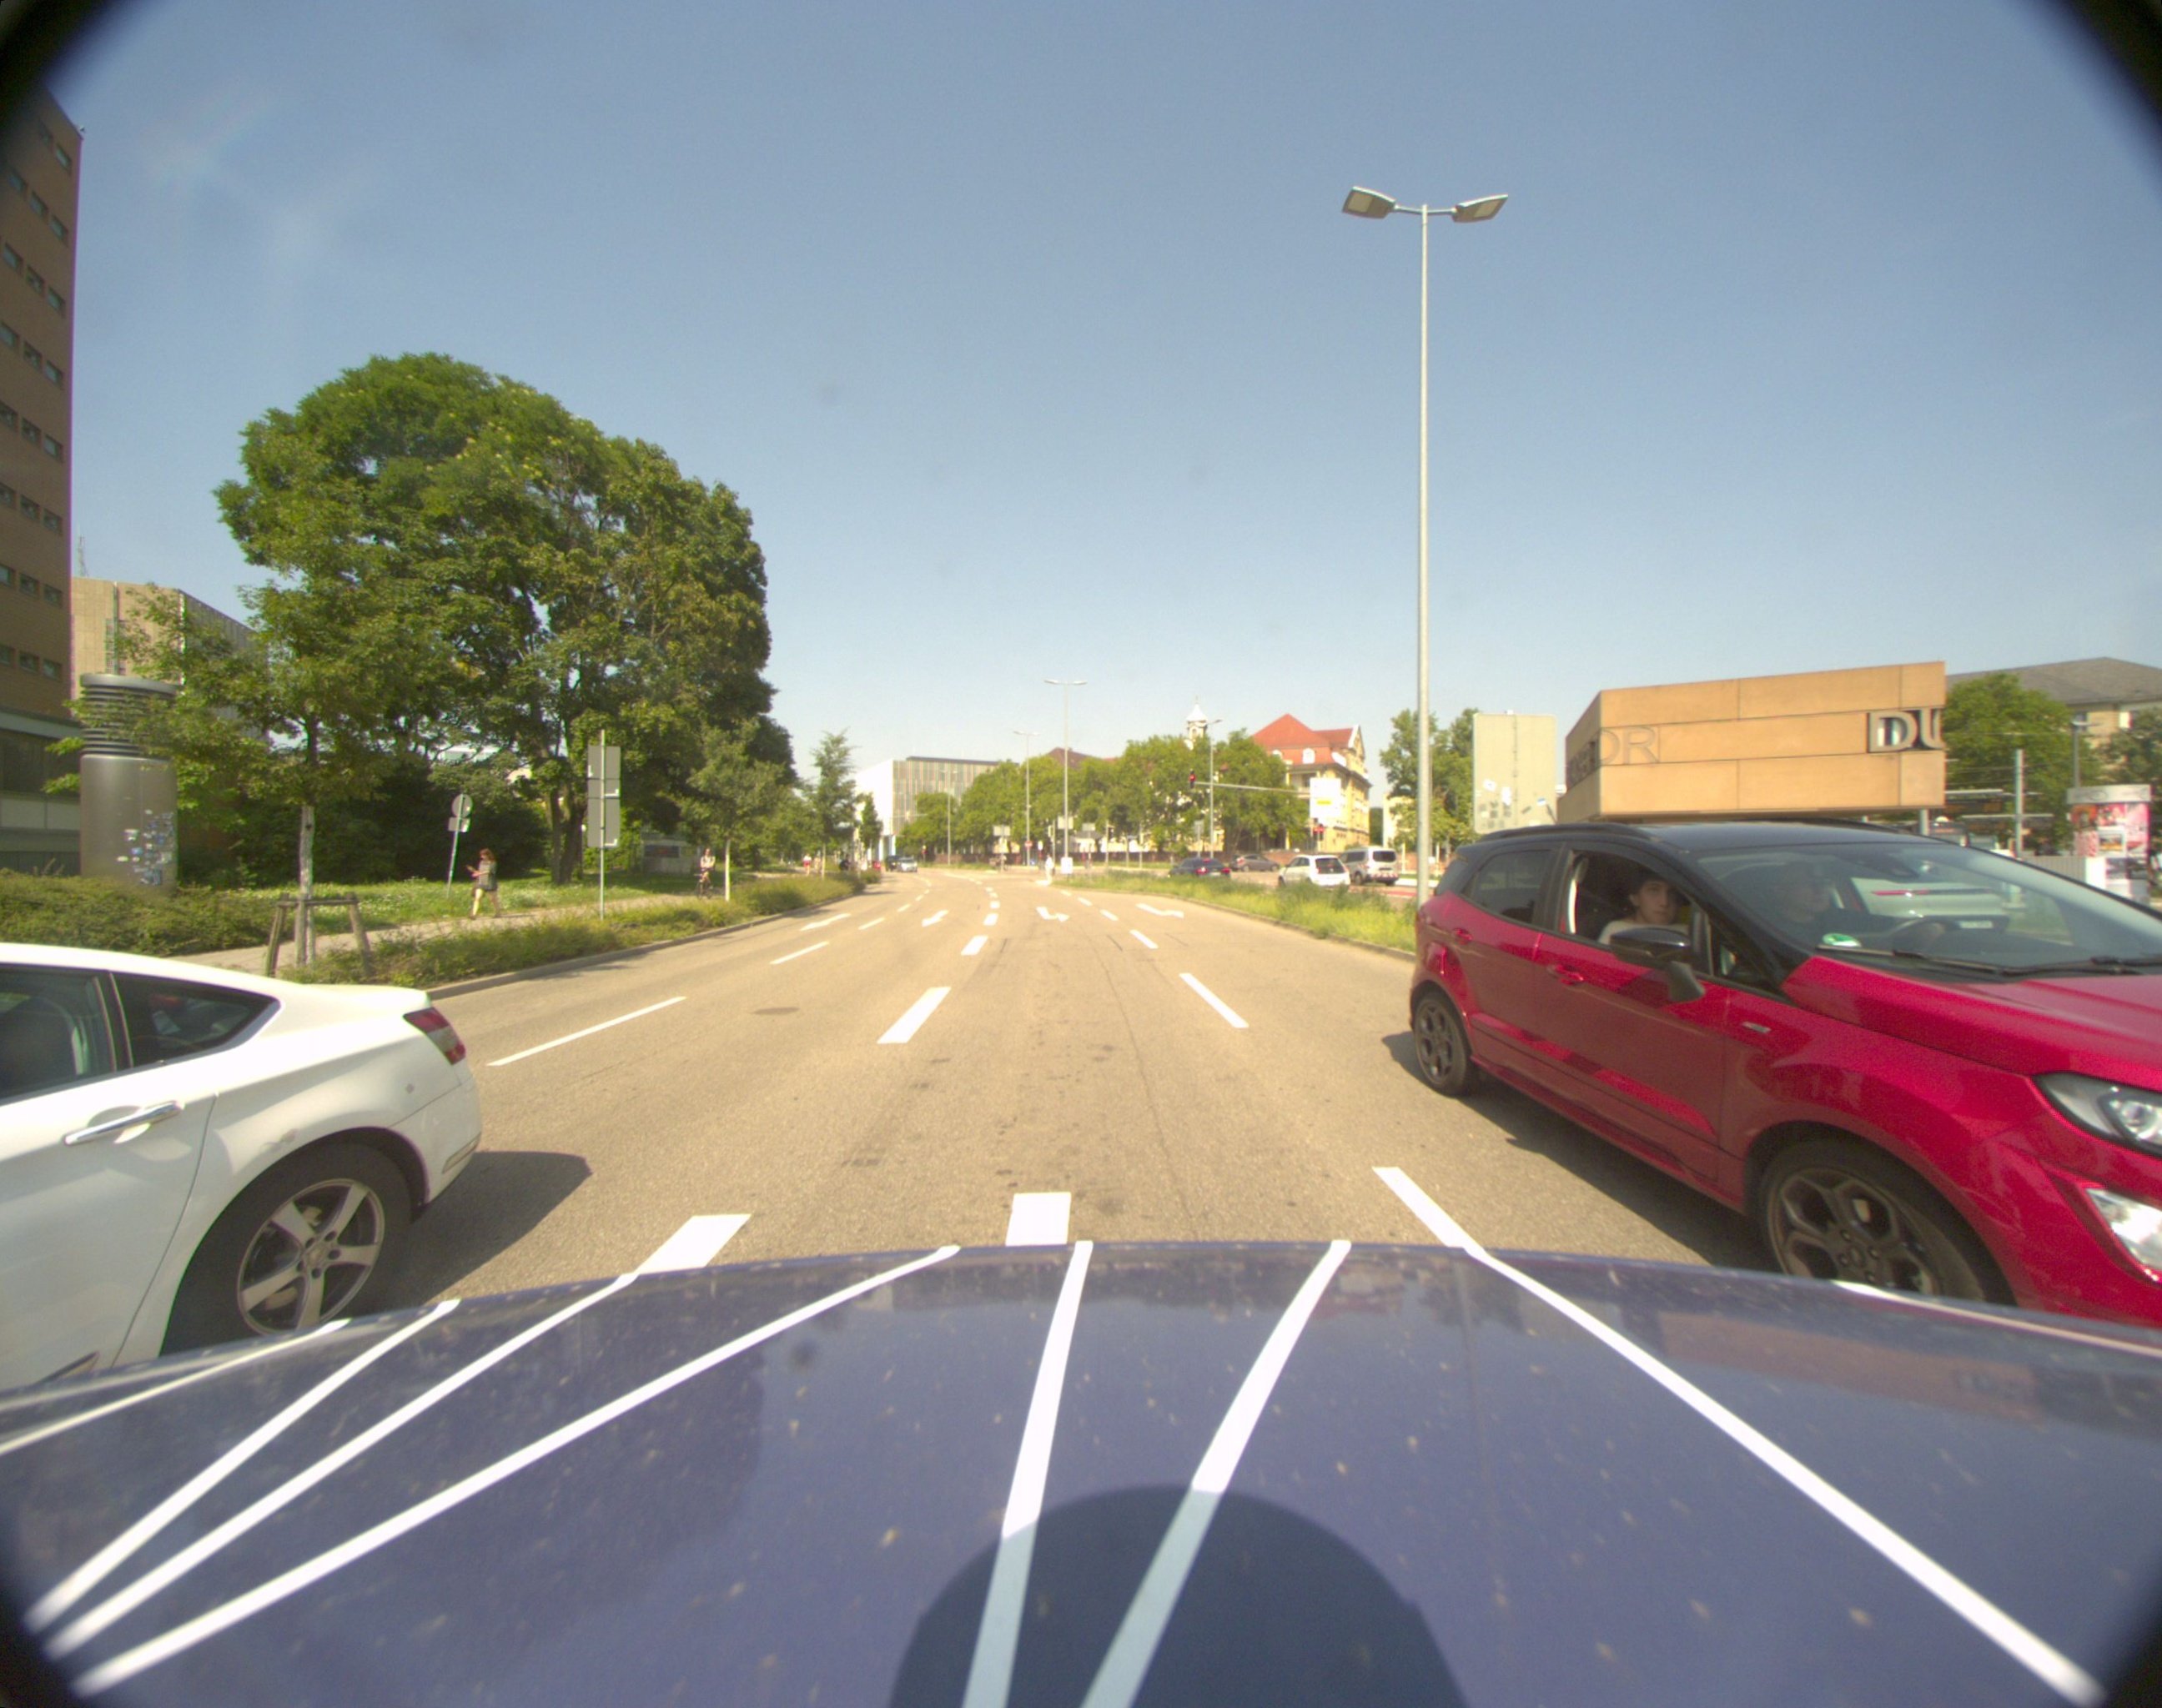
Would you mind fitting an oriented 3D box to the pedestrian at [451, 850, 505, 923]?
[{"bbox_3d":[-14.292,0.752,18.041,0.672,1.689,0.805,0,1,-8],"label":"pedestrian"}]

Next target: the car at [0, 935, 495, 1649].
[{"bbox_3d":[-3.297,1.043,0.728,1.773,1.420,4.610,0,0,2],"label":"car"}]

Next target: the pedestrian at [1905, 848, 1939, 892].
[{"bbox_3d":[28.725,0.545,25.960,0.539,1.488,0.541,0,1,-1],"label":"pedestrian"}]

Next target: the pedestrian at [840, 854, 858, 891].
[{"bbox_3d":[-12.063,0.963,39.451,0.823,1.892,0.630,-1,1,-12],"label":"pedestrian"}]

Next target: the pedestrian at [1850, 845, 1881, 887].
[{"bbox_3d":[27.778,0.416,26.915,0.539,1.488,0.541,0,1,-1],"label":"pedestrian"}]

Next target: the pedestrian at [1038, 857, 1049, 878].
[{"bbox_3d":[-2.323,0.855,47.422,0.605,1.291,0.617,-2,1,-4],"label":"pedestrian"}]

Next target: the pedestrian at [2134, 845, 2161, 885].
[{"bbox_3d":[48.890,0.490,34.504,0.927,1.812,0.939,0,1,28],"label":"pedestrian"}]

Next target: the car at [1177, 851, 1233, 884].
[{"bbox_3d":[5.613,0.592,34.807,1.526,1.417,3.474,0,0,-9],"label":"car"}]

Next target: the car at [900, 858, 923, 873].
[{"bbox_3d":[-18.416,1.233,82.381,1.661,1.521,4.525,-2,0,-22],"label":"car"}]

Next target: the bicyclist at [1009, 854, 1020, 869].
[{"bbox_3d":[-6.652,0.745,75.847,1.017,1.542,0.718,0,0,-6],"label":"bicyclist"}]

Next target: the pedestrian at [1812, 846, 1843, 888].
[{"bbox_3d":[26.588,0.458,27.059,0.539,1.488,0.541,0,1,-1],"label":"pedestrian"}]

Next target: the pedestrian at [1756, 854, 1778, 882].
[{"bbox_3d":[26.499,0.538,29.371,0.538,1.093,0.543,0,1,31],"label":"pedestrian"}]

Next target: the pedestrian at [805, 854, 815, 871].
[{"bbox_3d":[-20.739,0.646,58.218,0.635,1.291,0.486,-3,1,-26],"label":"pedestrian"}]

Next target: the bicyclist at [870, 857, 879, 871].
[{"bbox_3d":[-21.339,1.051,78.519,0.679,1.392,1.049,0,0,-3],"label":"bicyclist"}]

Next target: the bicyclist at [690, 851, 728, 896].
[{"bbox_3d":[-13.435,0.706,27.480,0.904,1.596,0.924,0,0,-2],"label":"bicyclist"}]

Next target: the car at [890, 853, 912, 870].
[{"bbox_3d":[-21.075,0.914,88.967,1.893,1.908,4.525,-2,0,-21],"label":"car"}]

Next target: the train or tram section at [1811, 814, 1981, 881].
[{"bbox_3d":[47.736,-0.340,45.196,2.698,3.418,13.446,0,0,28],"label":"train or tram section"}]

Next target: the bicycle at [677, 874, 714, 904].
[{"bbox_3d":[-13.516,1.221,26.666,0.357,0.974,1.782,0,0,1],"label":"bicycle"}]

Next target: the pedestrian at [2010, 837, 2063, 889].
[{"bbox_3d":[27.988,0.255,22.257,0.771,1.488,0.606,0,1,-1],"label":"pedestrian"}]

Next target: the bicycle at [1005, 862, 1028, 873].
[{"bbox_3d":[-6.483,1.308,75.871,2.267,1.070,0.659,0,0,-7],"label":"bicycle"}]

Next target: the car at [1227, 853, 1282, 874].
[{"bbox_3d":[14.044,0.762,61.451,4.002,1.608,1.797,0,0,-16],"label":"car"}]

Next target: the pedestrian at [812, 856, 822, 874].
[{"bbox_3d":[-20.303,0.841,58.384,0.618,1.291,0.436,-3,1,-26],"label":"pedestrian"}]

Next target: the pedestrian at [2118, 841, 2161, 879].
[{"bbox_3d":[48.601,0.257,34.705,1.076,1.686,1.066,0,1,28],"label":"pedestrian"}]

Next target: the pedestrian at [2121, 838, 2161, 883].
[{"bbox_3d":[43.409,0.269,31.101,0.804,1.812,0.534,0,1,28],"label":"pedestrian"}]

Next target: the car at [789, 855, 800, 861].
[{"bbox_3d":[-77.715,1.103,205.985,1.877,1.521,4.522,0,0,-32],"label":"car"}]

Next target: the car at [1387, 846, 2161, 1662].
[{"bbox_3d":[2.936,0.787,3.144,1.694,1.577,3.844,-2,0,-1],"label":"car"}]

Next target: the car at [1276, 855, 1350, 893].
[{"bbox_3d":[9.572,0.771,31.589,1.527,1.470,3.474,0,0,-10],"label":"car"}]

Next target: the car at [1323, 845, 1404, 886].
[{"bbox_3d":[13.474,0.501,36.498,1.869,1.843,3.911,0,1,-12],"label":"car"}]

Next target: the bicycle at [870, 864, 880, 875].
[{"bbox_3d":[-21.325,1.606,78.633,0.594,1.162,2.235,0,0,-3],"label":"bicycle"}]

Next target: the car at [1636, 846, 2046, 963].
[{"bbox_3d":[12.057,0.677,12.674,1.999,1.575,4.714,0,0,-3],"label":"car"}]
